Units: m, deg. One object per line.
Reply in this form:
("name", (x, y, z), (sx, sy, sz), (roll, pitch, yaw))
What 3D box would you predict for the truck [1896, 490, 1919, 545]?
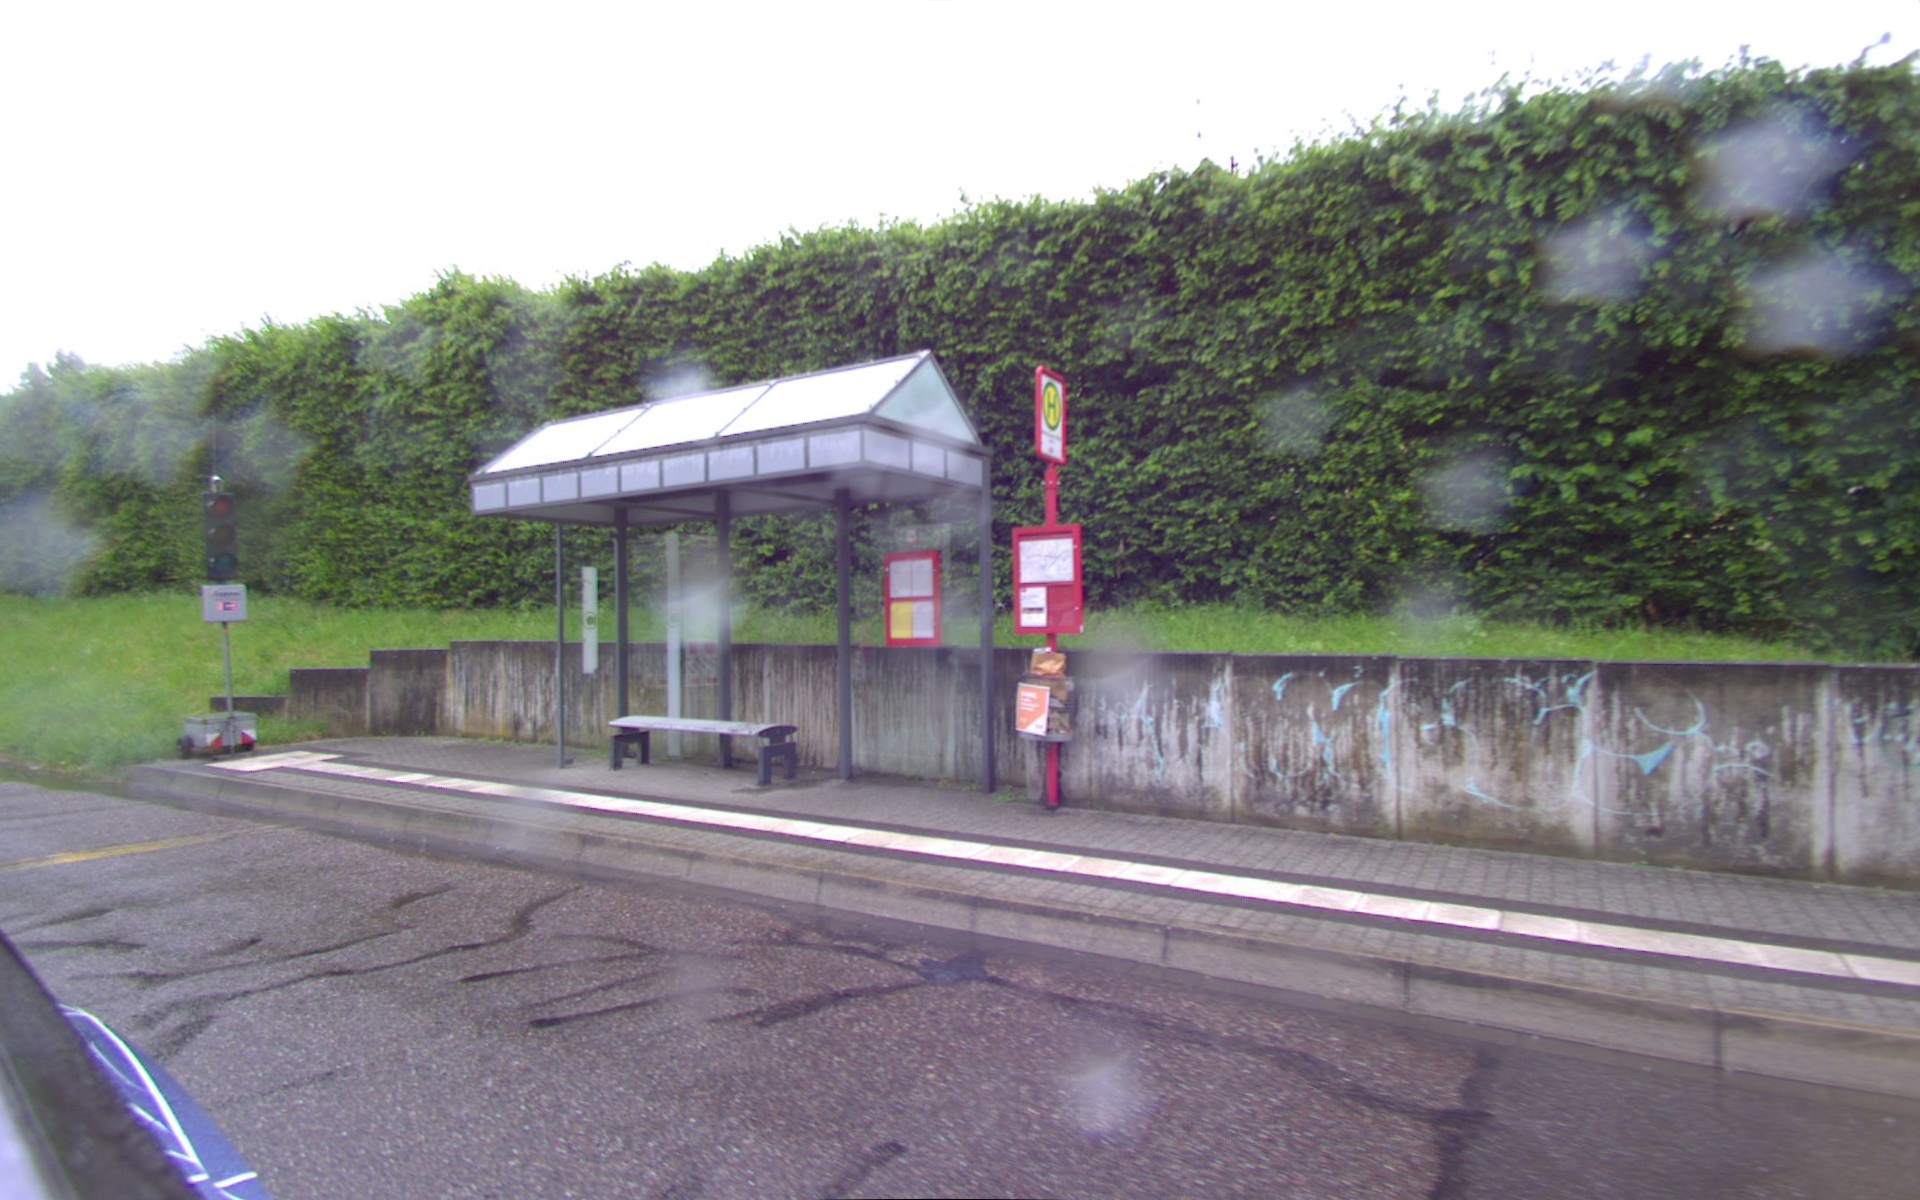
("truck", (38.094, -3.202, 38.530), (2.291, 2.142, 6.020), (-1, 2, 30))
